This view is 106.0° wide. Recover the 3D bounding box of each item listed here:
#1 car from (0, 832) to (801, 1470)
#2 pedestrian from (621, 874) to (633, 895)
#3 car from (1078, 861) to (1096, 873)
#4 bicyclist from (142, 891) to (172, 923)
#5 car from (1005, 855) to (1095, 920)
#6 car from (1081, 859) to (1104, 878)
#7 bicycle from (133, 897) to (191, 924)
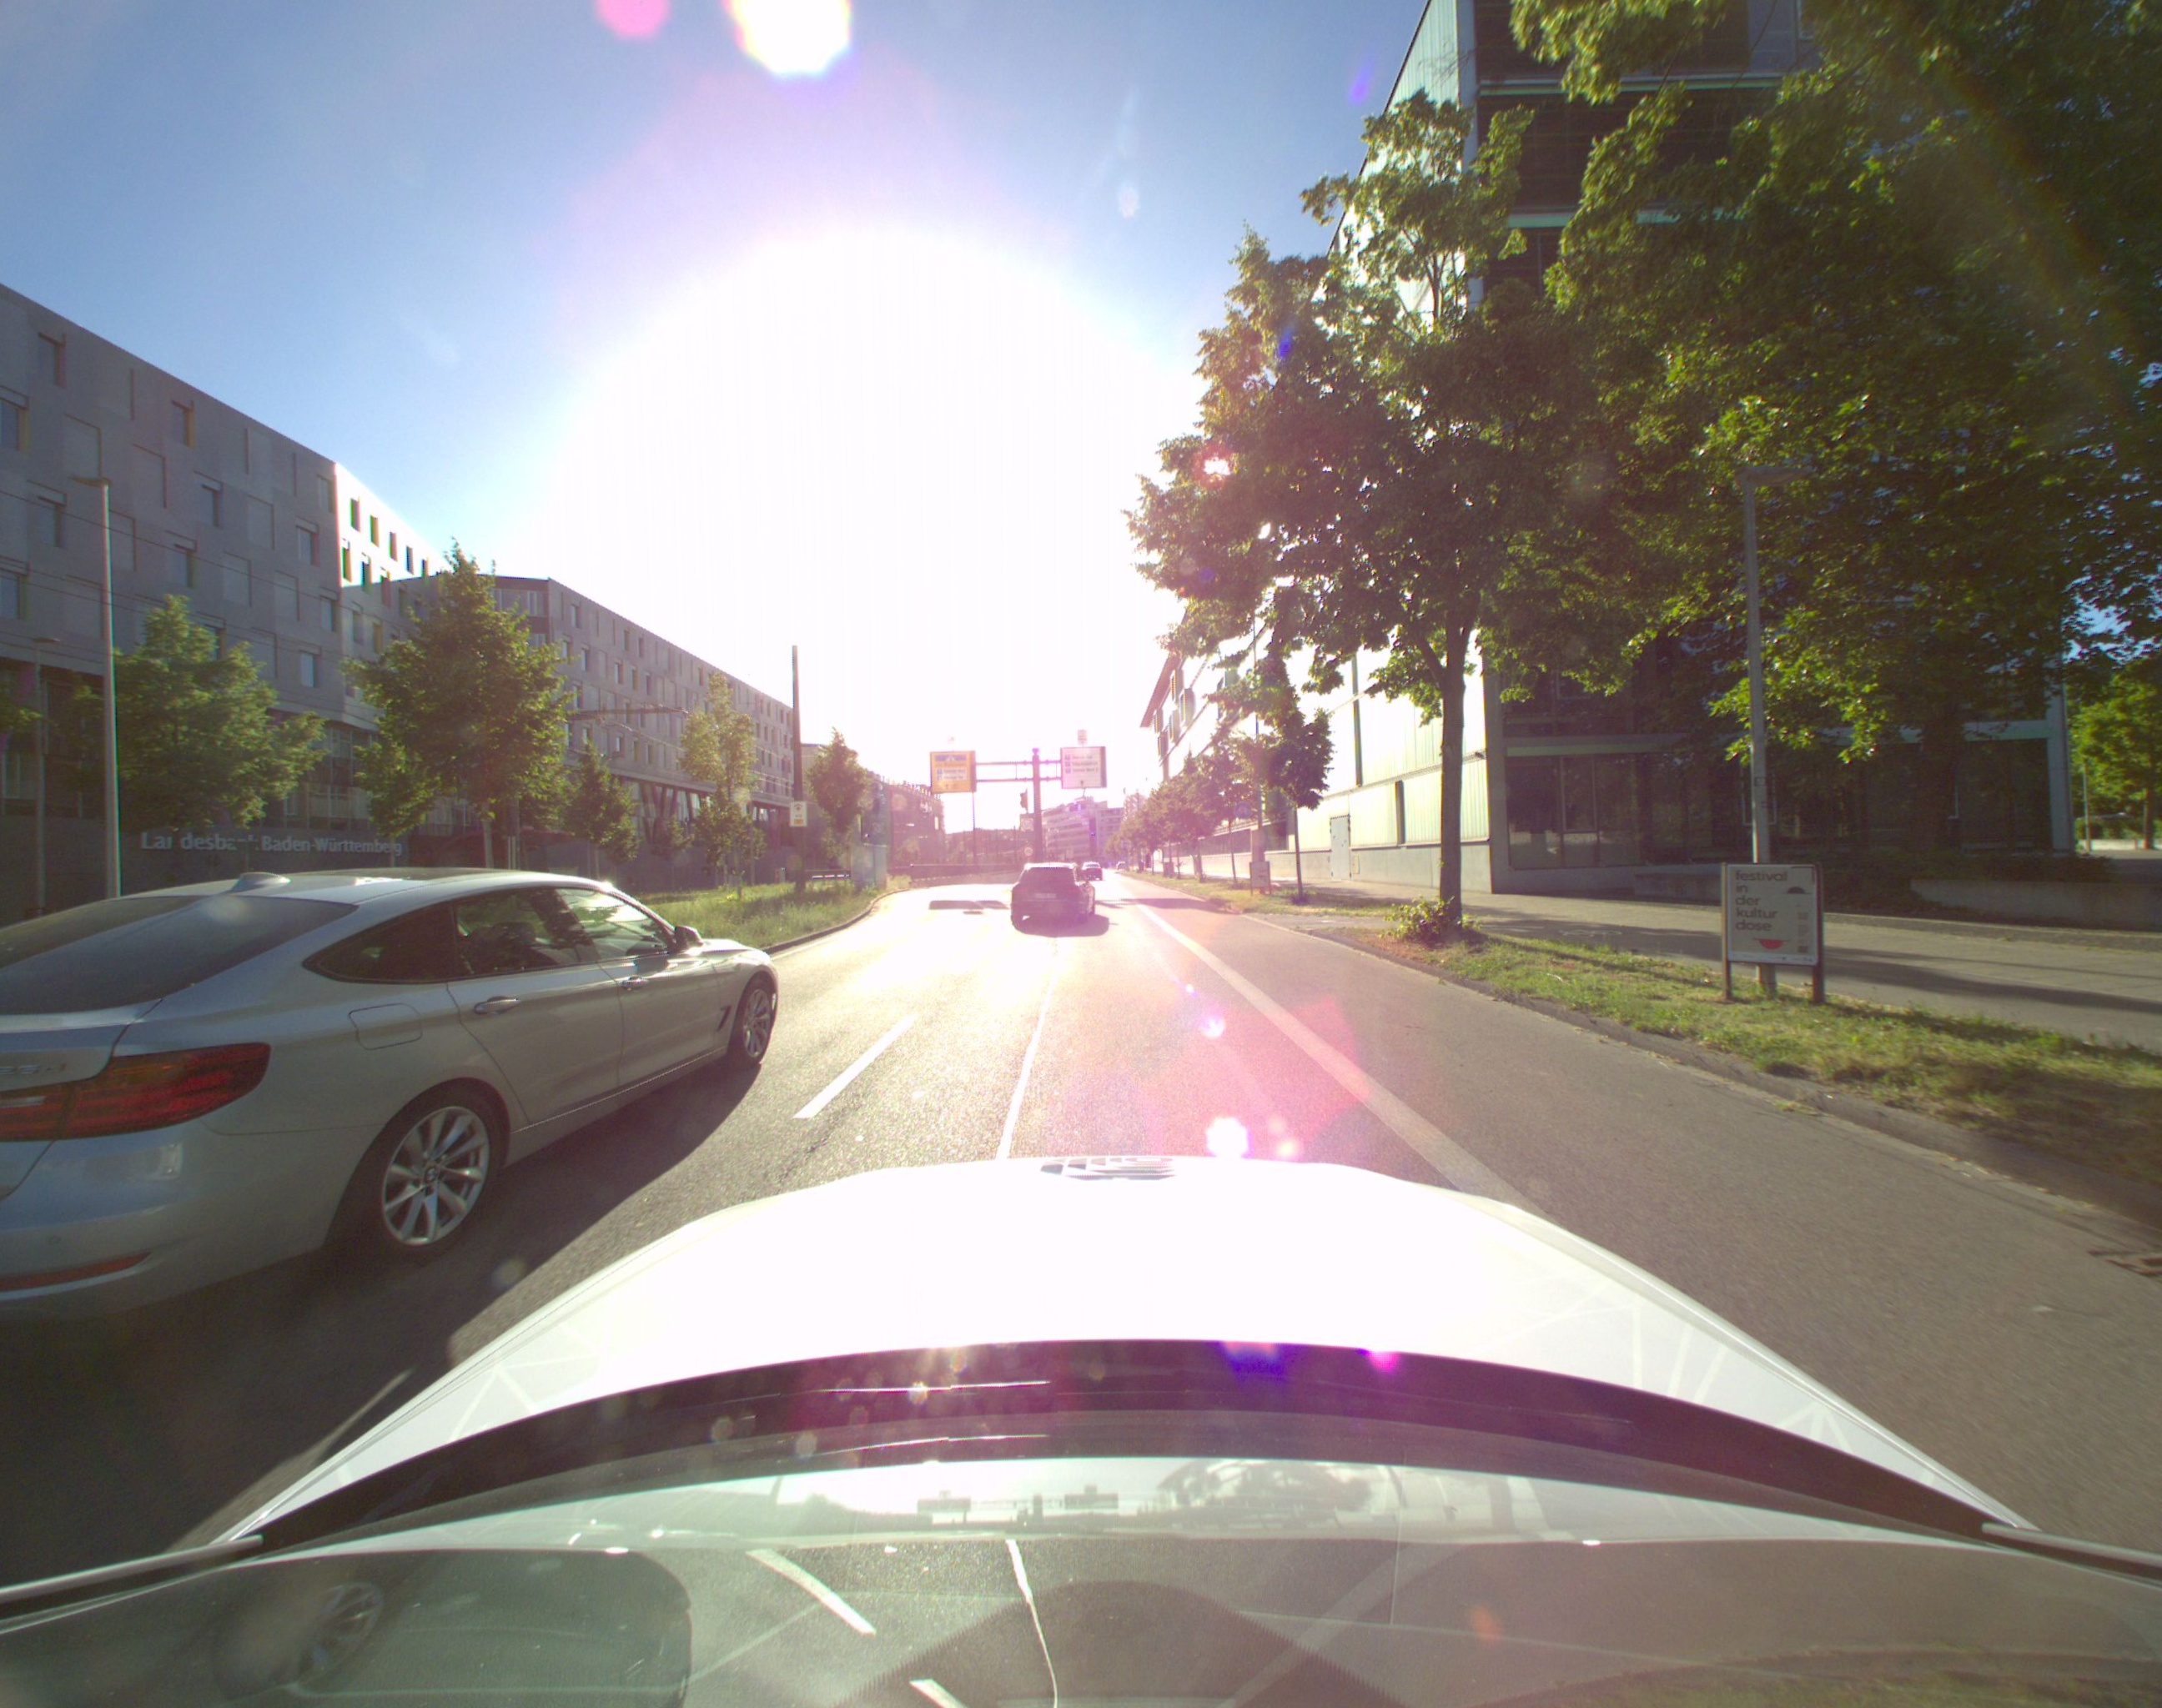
[{"bbox_3d":[-3.326,0.738,4.421,1.792,1.527,4.911,0,-1,1],"label":"car"},{"bbox_3d":[-44.426,2.983,79.643,0.733,2.014,0.689,-2,-1,0],"label":"pedestrian"},{"bbox_3d":[0.763,1.608,104.153,1.990,1.465,3.993,-1,0,-5],"label":"car"},{"bbox_3d":[-44.029,2.525,38.815,0.556,1.496,0.763,-2,-1,0],"label":"bicyclist"},{"bbox_3d":[-0.667,0.782,20.883,1.804,1.427,4.694,-2,-1,4],"label":"car"},{"bbox_3d":[0.950,1.167,66.636,1.846,1.546,4.000,0,-1,1],"label":"car"},{"bbox_3d":[-43.760,2.683,38.811,0.518,1.172,1.975,-2,-1,0],"label":"bicycle"}]
